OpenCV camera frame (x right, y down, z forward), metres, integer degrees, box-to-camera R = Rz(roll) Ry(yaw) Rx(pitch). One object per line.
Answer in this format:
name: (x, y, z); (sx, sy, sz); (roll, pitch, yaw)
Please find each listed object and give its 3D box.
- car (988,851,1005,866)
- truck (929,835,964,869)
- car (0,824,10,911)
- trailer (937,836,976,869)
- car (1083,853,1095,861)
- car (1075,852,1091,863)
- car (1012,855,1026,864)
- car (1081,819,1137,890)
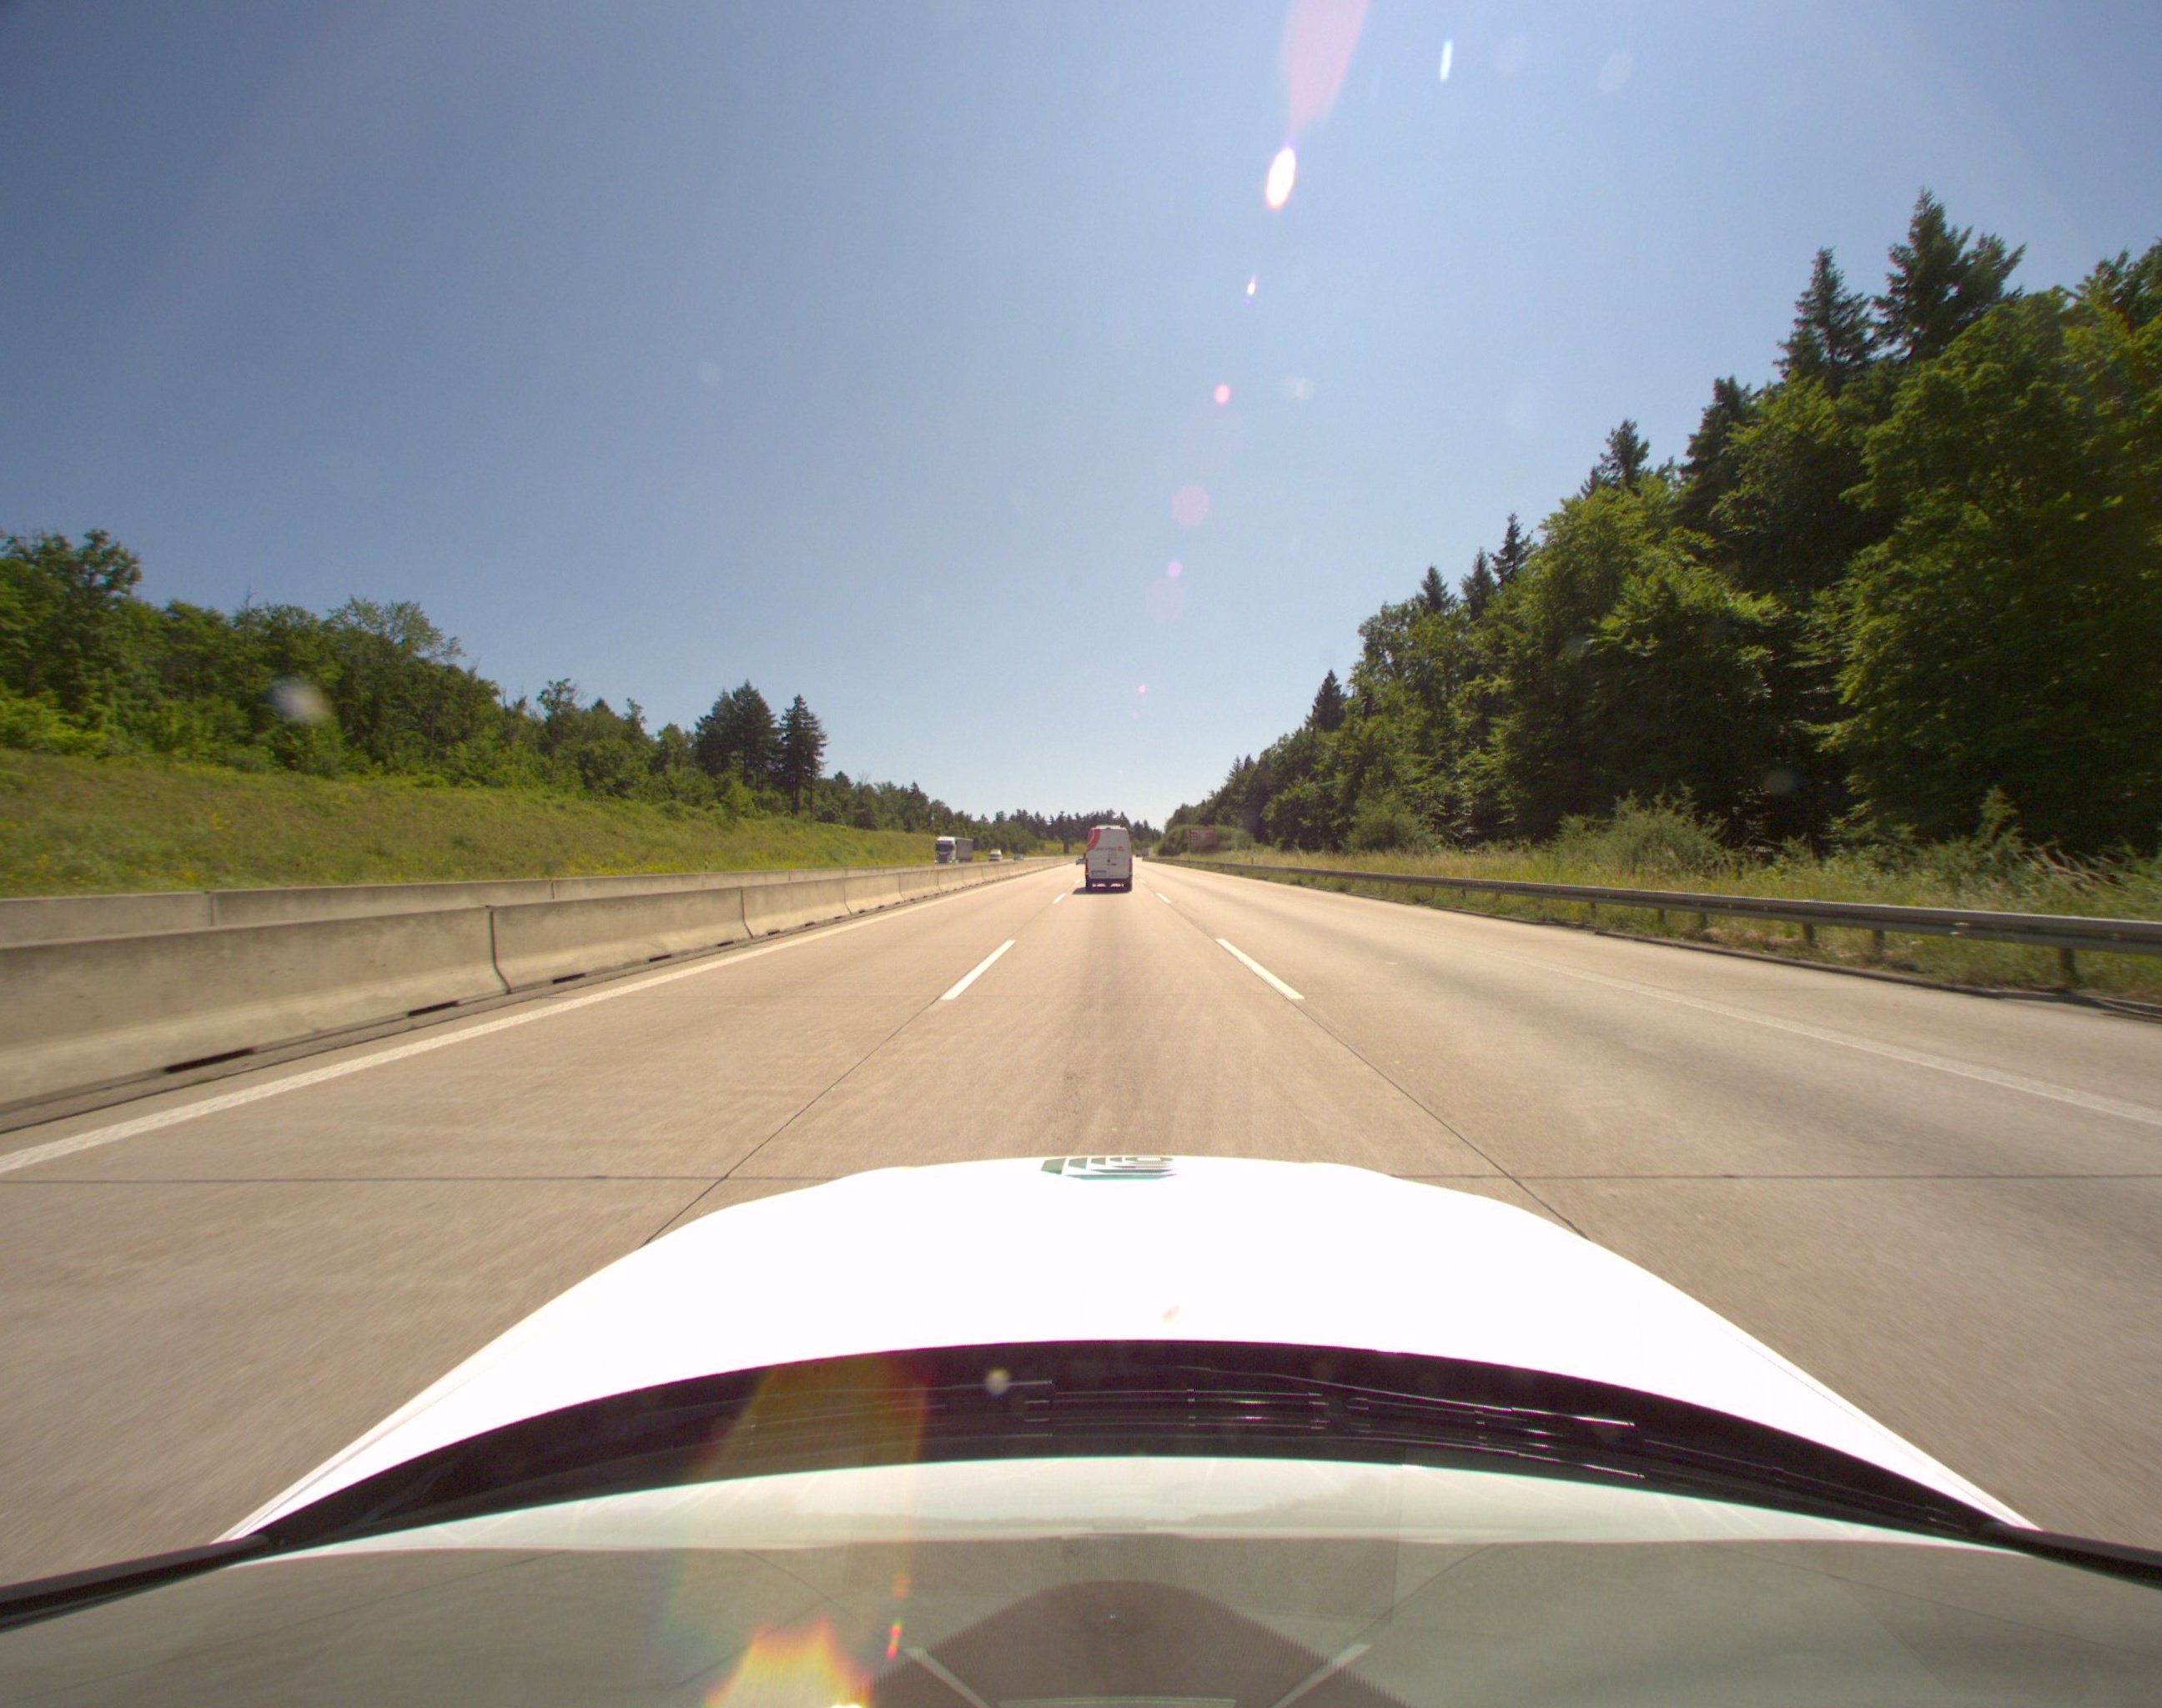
car: (-13.516, 0.712, 130.485); (1.986, 2.486, 5.181); (0, 0, 2)
truck: (-18.527, -0.182, 112.596); (3.244, 4.504, 7.989); (-1, -1, 2)
car: (-20.729, 0.270, 13.314); (1.608, 1.600, 3.578); (-3, -1, 2)
trailer: (-18.213, -0.130, 120.415); (3.244, 4.504, 13.125); (-1, -1, 2)
car: (1.722, 0.671, 173.445); (1.983, 1.684, 4.006); (-1, -1, 6)
car: (0.307, 0.503, 124.358); (1.983, 1.684, 4.006); (-1, -1, 6)
car: (-11.339, 0.999, 149.422); (1.986, 1.583, 4.044); (-1, 0, 2)
car: (1.204, 0.018, 35.495); (2.218, 2.844, 5.455); (0, 0, 1)
